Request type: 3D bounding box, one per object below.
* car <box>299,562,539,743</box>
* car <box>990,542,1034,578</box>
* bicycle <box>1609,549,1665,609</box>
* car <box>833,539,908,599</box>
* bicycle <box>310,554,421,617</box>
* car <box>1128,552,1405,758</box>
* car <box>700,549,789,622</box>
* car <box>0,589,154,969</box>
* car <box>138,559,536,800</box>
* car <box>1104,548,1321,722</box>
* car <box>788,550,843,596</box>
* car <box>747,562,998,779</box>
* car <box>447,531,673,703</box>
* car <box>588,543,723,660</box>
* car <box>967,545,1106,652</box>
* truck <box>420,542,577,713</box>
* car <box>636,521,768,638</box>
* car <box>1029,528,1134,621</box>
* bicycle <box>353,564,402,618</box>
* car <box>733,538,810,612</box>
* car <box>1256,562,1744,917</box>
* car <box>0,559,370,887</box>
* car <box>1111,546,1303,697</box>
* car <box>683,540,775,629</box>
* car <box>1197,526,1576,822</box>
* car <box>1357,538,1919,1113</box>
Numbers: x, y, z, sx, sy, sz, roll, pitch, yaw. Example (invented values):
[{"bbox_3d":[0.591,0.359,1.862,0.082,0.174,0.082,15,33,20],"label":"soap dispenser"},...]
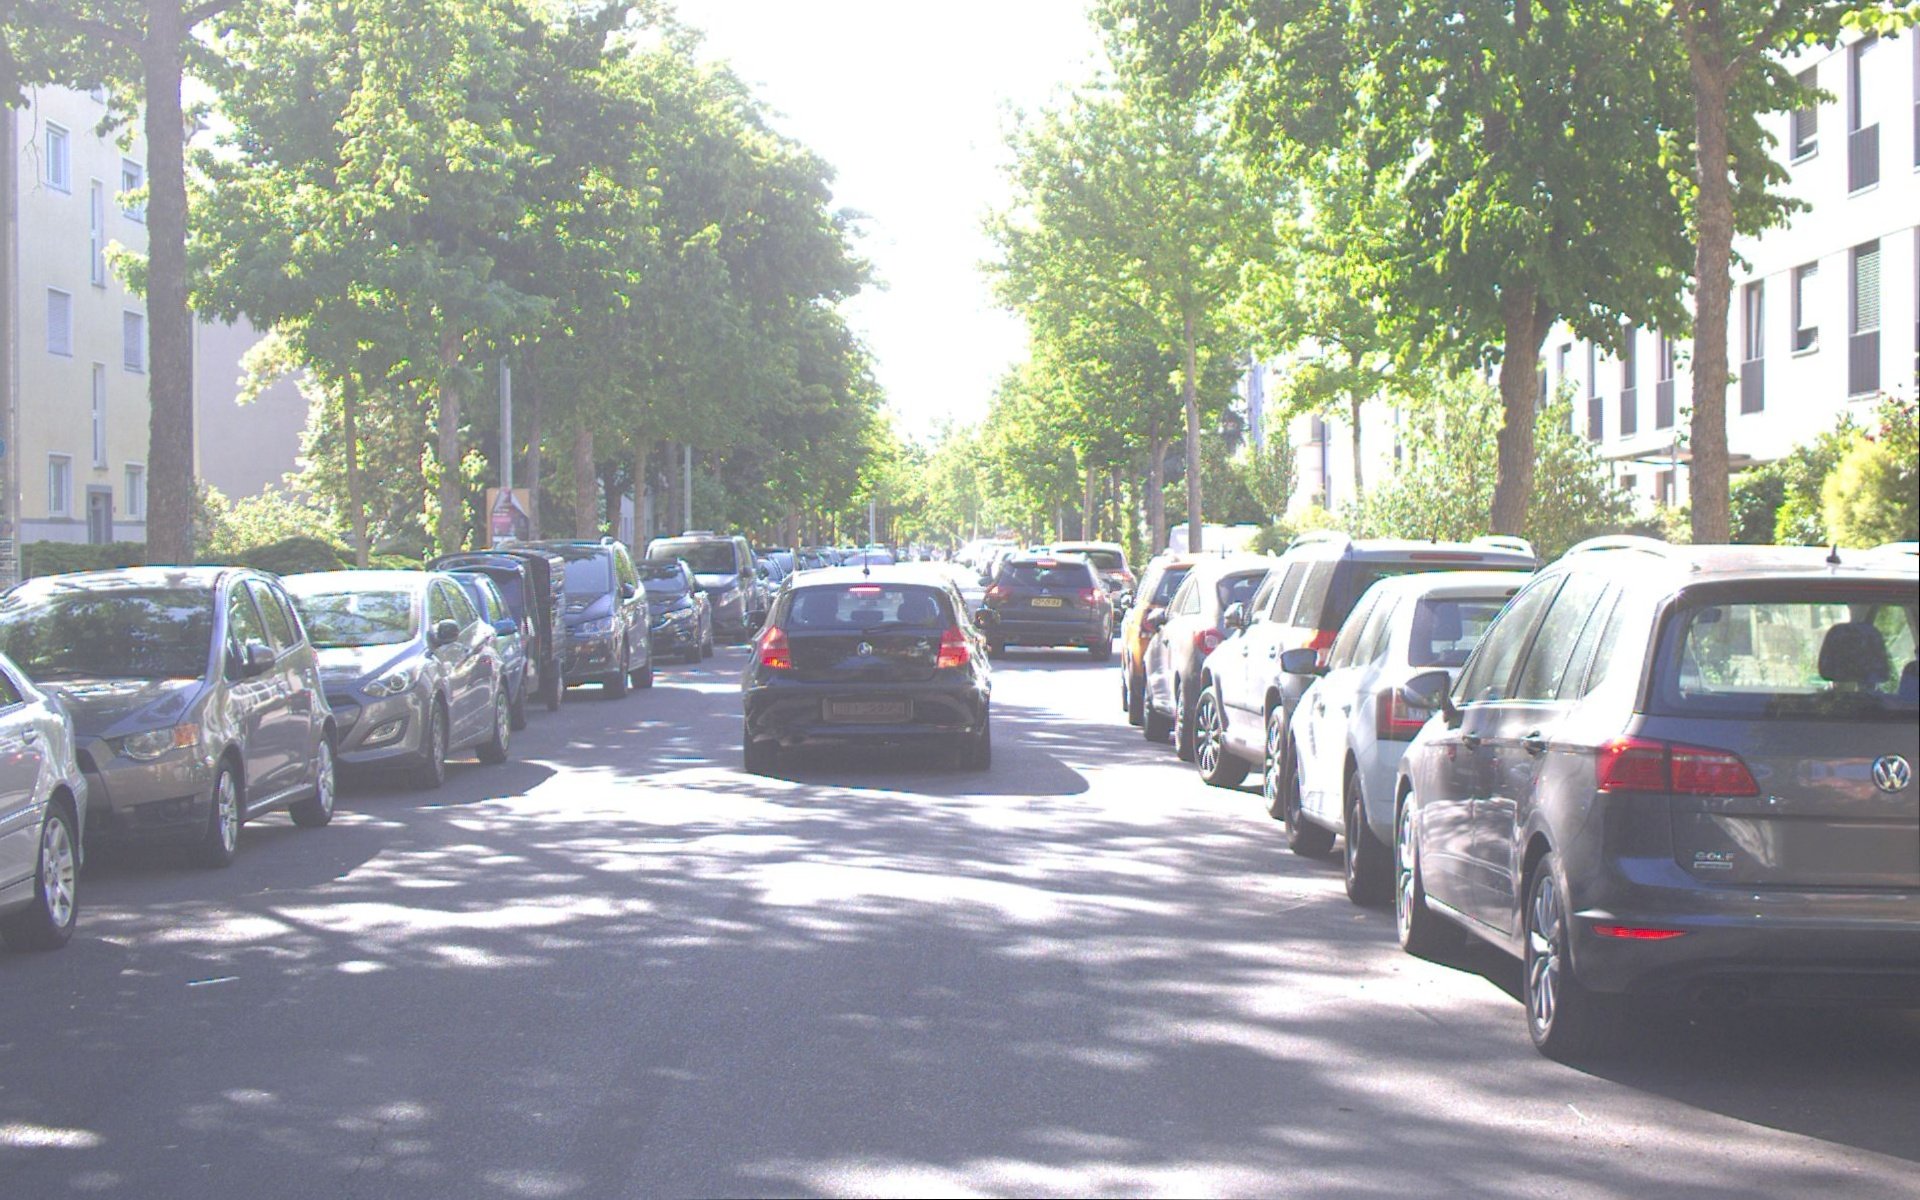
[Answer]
[{"bbox_3d":[-4.515,0.393,29.110,1.520,1.390,3.727,-1,1,-1],"label":"car"},{"bbox_3d":[2.204,-1.701,144.618,1.721,1.475,3.851,-1,1,3],"label":"car"},{"bbox_3d":[12.174,-0.388,61.869,0.546,1.051,1.780,-1,1,-3],"label":"bicycle"},{"bbox_3d":[-2.142,-0.764,83.057,1.505,1.421,3.177,0,1,4],"label":"car"},{"bbox_3d":[-11.908,-0.297,68.834,2.144,1.204,0.690,-1,1,-11],"label":"bicycle"},{"bbox_3d":[2.272,0.366,26.277,1.649,1.423,3.613,-1,1,-2],"label":"car"},{"bbox_3d":[-4.440,-0.315,71.167,1.612,1.422,4.058,-2,1,-1],"label":"car"},{"bbox_3d":[-4.420,0.696,12.714,1.745,1.364,4.674,-1,1,0],"label":"car"},{"bbox_3d":[-4.260,0.483,24.265,1.792,1.439,4.688,-2,1,2],"label":"car"},{"bbox_3d":[2.239,0.266,31.339,1.636,1.450,4.100,-1,1,0],"label":"car"},{"bbox_3d":[-4.540,-0.860,108.384,1.612,1.387,3.866,-2,1,-1],"label":"car"},{"bbox_3d":[-0.601,0.449,24.600,1.649,1.392,3.412,-1,1,-1],"label":"car"},{"bbox_3d":[-4.314,0.128,37.763,1.849,1.675,4.977,-3,1,0],"label":"car"},{"bbox_3d":[-4.360,-0.016,49.720,1.507,1.543,4.779,-3,1,-1],"label":"car"},{"bbox_3d":[1.047,-0.059,48.831,1.649,1.421,4.002,-1,1,-3],"label":"car"},{"bbox_3d":[-4.417,0.237,33.133,1.084,1.572,2.432,-1,1,2],"label":"truck"},{"bbox_3d":[-4.459,-0.382,60.147,1.826,1.898,5.142,-2,1,1],"label":"car"},{"bbox_3d":[2.214,-0.468,63.284,1.848,1.625,4.410,0,0,1],"label":"car"},{"bbox_3d":[-11.168,-0.177,65.961,0.594,0.988,1.928,-1,1,0],"label":"bicycle"},{"bbox_3d":[-4.454,-0.613,81.699,1.612,1.673,4.234,-2,1,-1],"label":"car"},{"bbox_3d":[2.439,0.558,16.513,1.629,1.420,4.368,-1,1,0],"label":"car"},{"bbox_3d":[-4.436,0.580,18.651,1.620,1.510,4.269,-3,1,1],"label":"car"},{"bbox_3d":[2.524,0.181,35.902,1.700,1.444,4.082,-1,1,0],"label":"car"},{"bbox_3d":[-4.395,-0.326,65.857,1.612,1.606,4.230,-2,1,-2],"label":"car"},{"bbox_3d":[2.521,0.378,21.155,1.648,1.650,3.847,0,1,-3],"label":"car"},{"bbox_3d":[2.564,0.605,11.917,1.684,1.582,4.536,2,1,-2],"label":"car"}]
